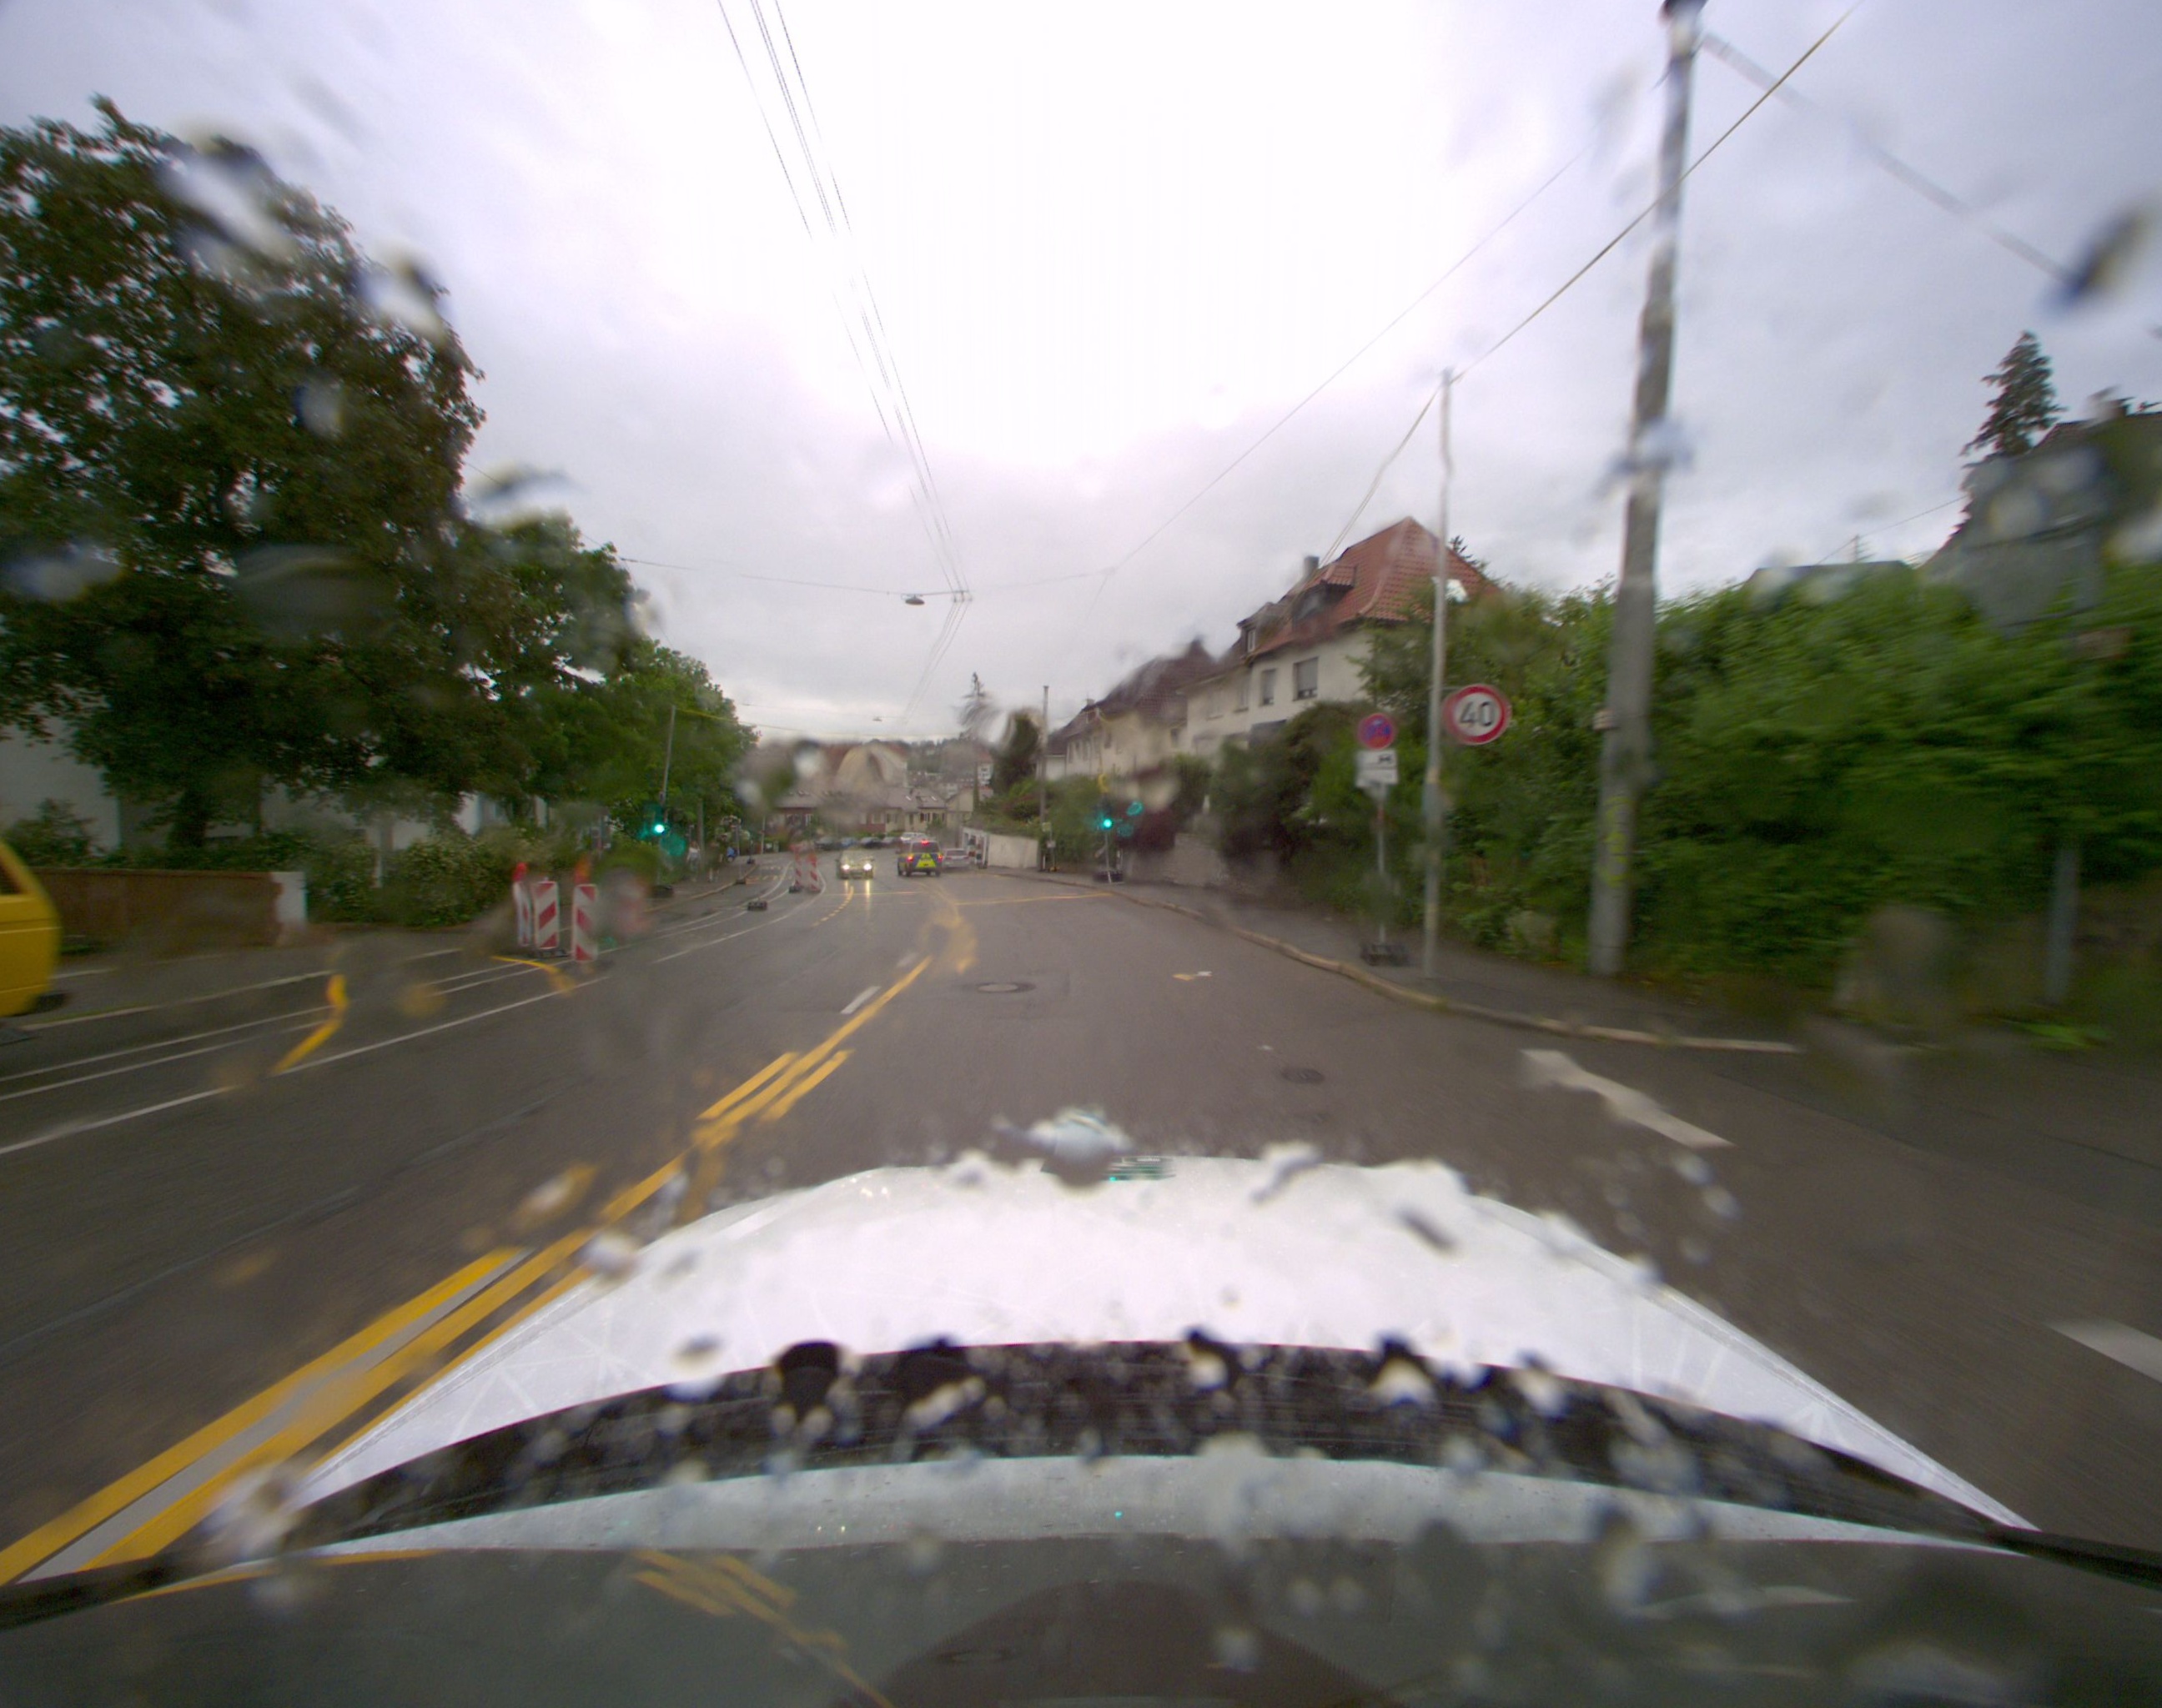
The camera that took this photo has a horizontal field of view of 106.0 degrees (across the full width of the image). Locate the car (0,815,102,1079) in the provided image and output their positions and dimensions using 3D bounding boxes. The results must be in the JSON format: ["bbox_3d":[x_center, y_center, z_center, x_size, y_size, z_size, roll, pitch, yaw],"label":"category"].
[{"bbox_3d":[-8.809,0.701,4.266,1.797,1.928,4.576,-1,0,0],"label":"car"}]

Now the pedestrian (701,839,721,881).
[{"bbox_3d":[-16.526,0.270,36.369,0.709,1.816,1.140,1,1,-20],"label":"pedestrian"}]

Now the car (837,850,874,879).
[{"bbox_3d":[-12.249,0.514,44.062,1.704,1.461,4.654,-2,1,-18],"label":"car"}]

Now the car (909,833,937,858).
[{"bbox_3d":[-16.687,-0.884,86.347,2.093,2.542,5.616,0,1,-2],"label":"car"}]

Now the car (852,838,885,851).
[{"bbox_3d":[-26.941,-1.199,103.426,1.794,1.476,4.544,4,2,18],"label":"car"}]

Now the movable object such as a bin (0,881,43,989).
[{"bbox_3d":[-11.849,0.858,8.574,0.856,1.140,0.712,0,-1,-3],"label":"movable object such as a bin"}]

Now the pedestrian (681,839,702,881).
[{"bbox_3d":[-17.255,0.271,36.096,0.683,1.816,1.148,1,1,-20],"label":"pedestrian"}]

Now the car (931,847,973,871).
[{"bbox_3d":[-8.112,0.281,50.834,1.787,1.420,4.401,-1,1,-19],"label":"car"}]

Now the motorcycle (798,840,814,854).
[{"bbox_3d":[-29.375,-0.740,87.025,1.785,1.303,0.617,5,2,31],"label":"motorcycle"}]

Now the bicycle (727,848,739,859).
[{"bbox_3d":[-35.933,-0.031,84.112,1.312,1.035,0.307,-3,-2,21],"label":"bicycle"}]

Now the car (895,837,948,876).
[{"bbox_3d":[-8.933,0.118,45.282,2.315,1.939,4.299,-3,1,-18],"label":"car"}]

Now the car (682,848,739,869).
[{"bbox_3d":[-30.952,0.375,68.189,1.818,1.666,3.967,-1,-1,35],"label":"car"}]

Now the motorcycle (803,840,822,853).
[{"bbox_3d":[-29.236,-0.796,88.630,1.911,1.271,0.570,2,2,-29],"label":"motorcycle"}]

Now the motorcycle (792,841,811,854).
[{"bbox_3d":[-29.543,-0.725,86.056,1.794,1.279,0.511,2,2,2],"label":"motorcycle"}]

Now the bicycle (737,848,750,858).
[{"bbox_3d":[-34.642,-0.101,83.583,1.289,1.035,0.307,-3,-2,19],"label":"bicycle"}]

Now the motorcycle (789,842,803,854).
[{"bbox_3d":[-29.536,-0.611,84.361,0.506,1.139,1.928,0,2,10],"label":"motorcycle"}]

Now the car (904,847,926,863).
[{"bbox_3d":[-16.441,0.111,80.635,1.751,1.495,4.175,0,1,-6],"label":"car"}]

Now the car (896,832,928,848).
[{"bbox_3d":[-23.720,-2.009,114.444,1.833,2.078,5.047,4,2,21],"label":"car"}]

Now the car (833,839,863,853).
[{"bbox_3d":[-28.017,-1.014,98.075,1.689,1.404,4.485,4,3,9],"label":"car"}]

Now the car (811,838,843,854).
[{"bbox_3d":[-28.883,-0.956,92.904,1.913,1.576,4.394,4,2,4],"label":"car"}]
